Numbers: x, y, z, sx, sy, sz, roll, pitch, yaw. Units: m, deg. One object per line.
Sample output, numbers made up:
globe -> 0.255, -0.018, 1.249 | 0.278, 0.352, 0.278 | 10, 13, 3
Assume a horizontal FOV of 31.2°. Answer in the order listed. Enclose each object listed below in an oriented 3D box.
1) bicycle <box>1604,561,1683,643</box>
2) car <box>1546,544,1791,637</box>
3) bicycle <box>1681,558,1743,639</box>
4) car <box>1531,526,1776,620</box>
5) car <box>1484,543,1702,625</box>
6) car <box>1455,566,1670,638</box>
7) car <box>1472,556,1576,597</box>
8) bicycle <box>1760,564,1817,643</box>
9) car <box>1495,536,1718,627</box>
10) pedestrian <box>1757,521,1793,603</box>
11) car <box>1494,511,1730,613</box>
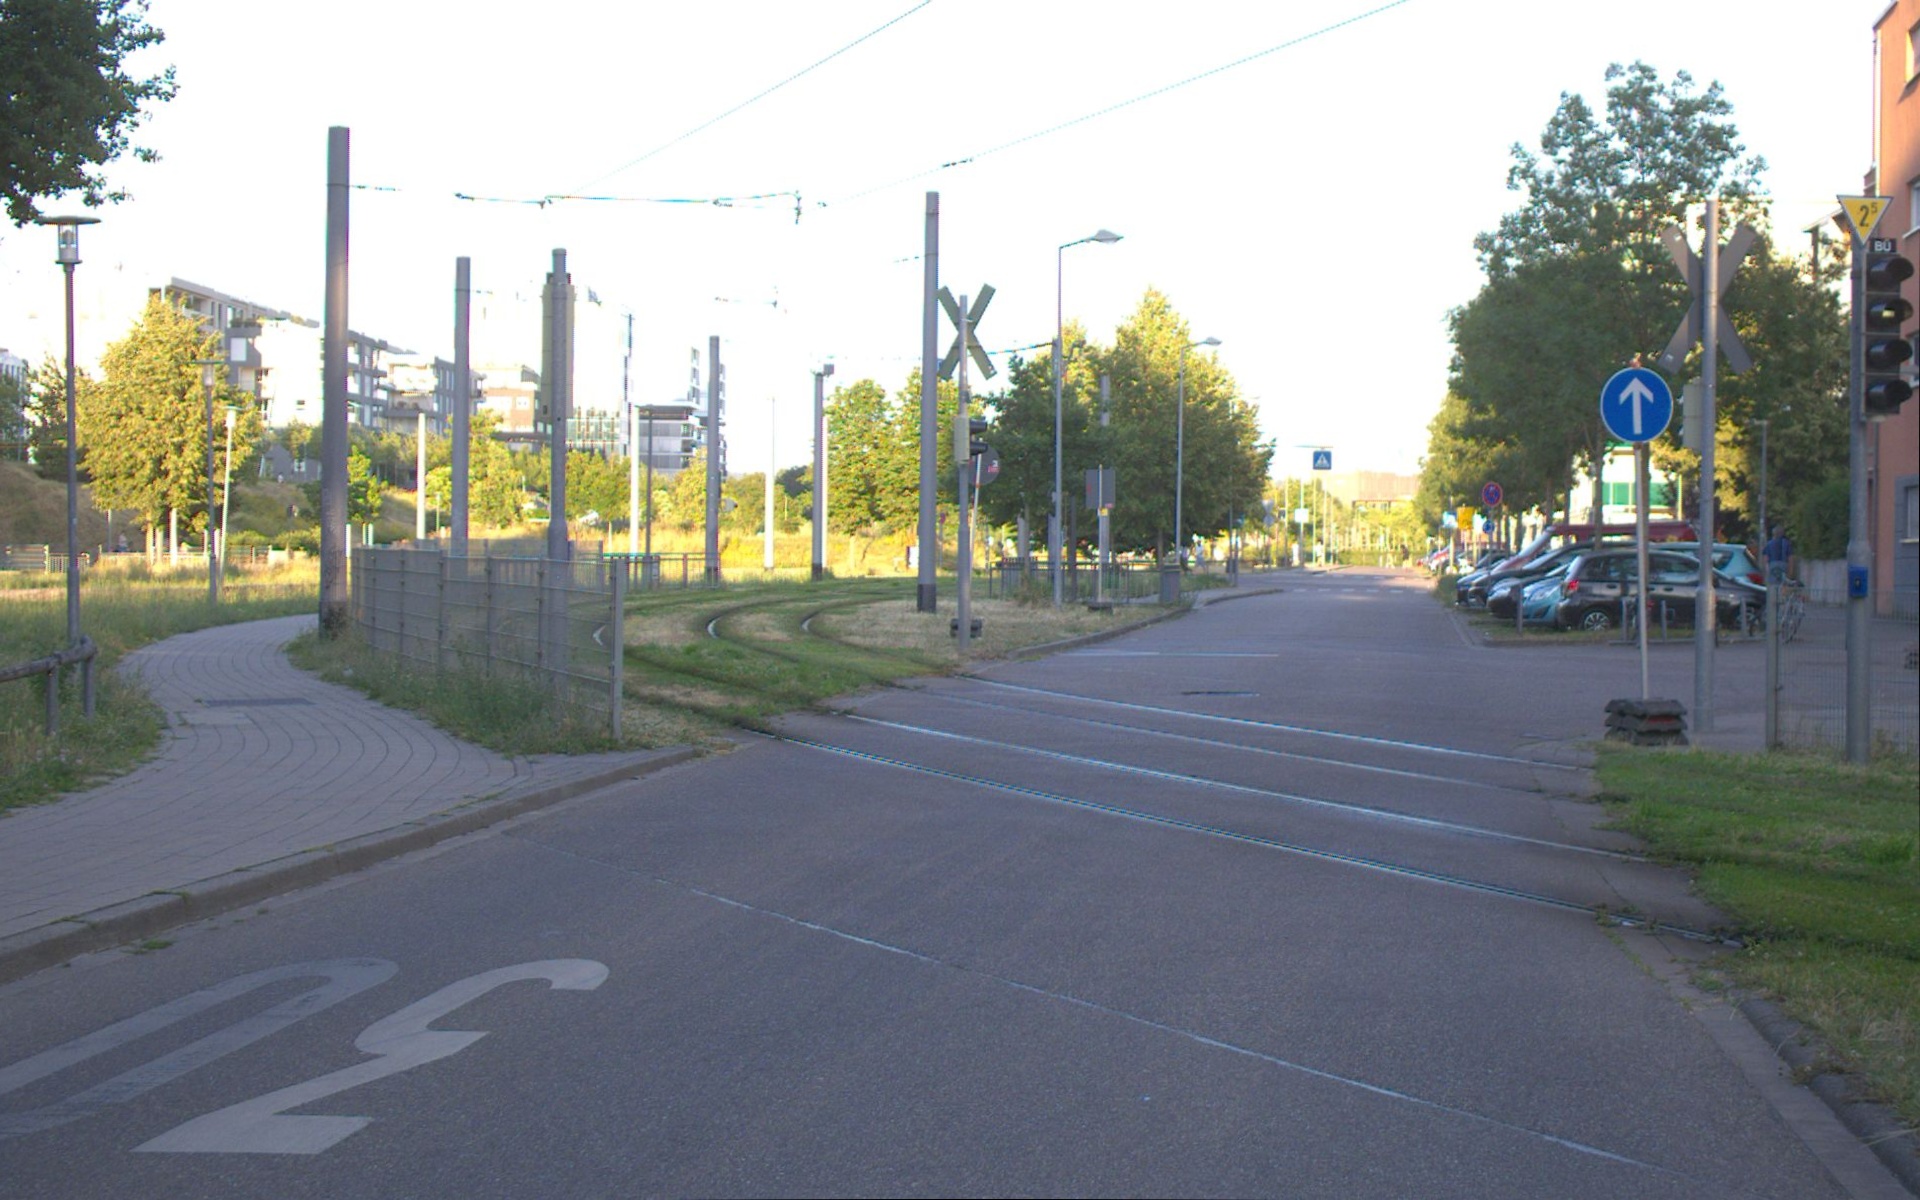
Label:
bicycle -> 10.429, 0.017, 52.508 | 0.716, 1.148, 1.899 | -1, 3, -3
car -> 11.738, -0.170, 57.126 | 3.750, 1.468, 1.613 | 1, 1, 3
bicycle -> 11.441, -0.036, 52.363 | 0.679, 1.148, 1.927 | -1, 2, 5
car -> 11.960, -0.463, 59.502 | 4.051, 1.563, 1.672 | 0, 1, 8
car -> 12.746, -0.329, 69.390 | 4.217, 1.563, 1.792 | -1, 1, 8
car -> 13.593, 0.037, 77.768 | 4.670, 1.551, 1.811 | 1, 1, 7
car -> 21.399, -0.888, 130.557 | 3.803, 1.503, 1.678 | 1, 1, 6
bicycle -> 12.705, 0.043, 52.739 | 0.529, 1.123, 1.962 | 2, 3, 5
car -> 11.686, -0.350, 62.331 | 3.878, 1.563, 1.619 | 1, 1, 8
pedestrian -> 17.429, -0.813, 73.536 | 0.669, 1.737, 0.699 | 1, 1, 7
car -> 14.087, -0.836, 74.519 | 4.921, 2.110, 2.016 | 1, 1, 9
